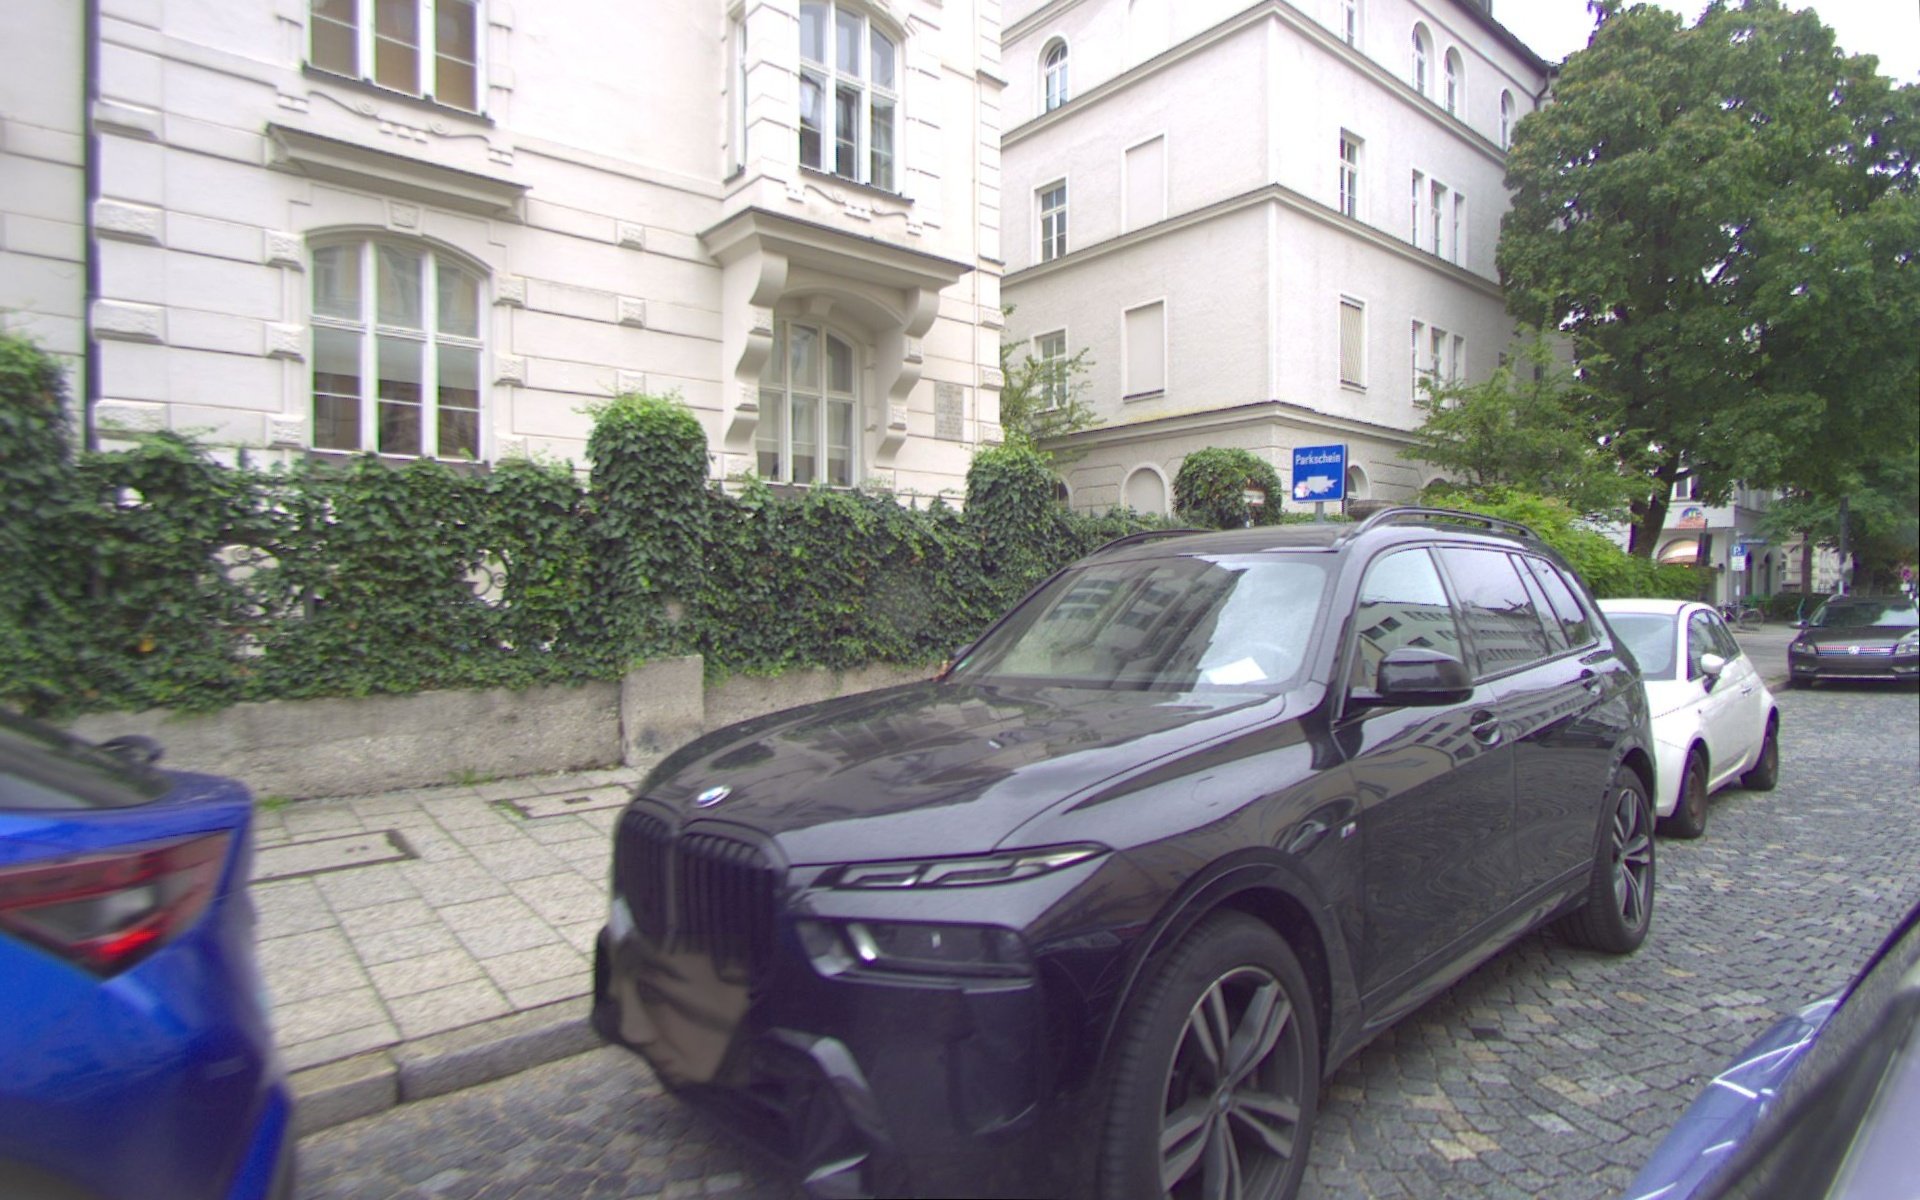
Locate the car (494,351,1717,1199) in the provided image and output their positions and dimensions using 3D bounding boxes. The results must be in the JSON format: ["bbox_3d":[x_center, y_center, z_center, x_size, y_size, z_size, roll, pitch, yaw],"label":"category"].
[{"bbox_3d":[1.270,0.422,4.059,5.398,1.694,1.877,-1,1,-43],"label":"car"}]

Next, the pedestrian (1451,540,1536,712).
[{"bbox_3d":[6.042,0.276,11.463,0.668,1.873,0.578,0,0,-33],"label":"pedestrian"}]

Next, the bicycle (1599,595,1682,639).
[{"bbox_3d":[18.959,0.461,28.248,0.551,1.138,1.846,0,2,-30],"label":"bicycle"}]

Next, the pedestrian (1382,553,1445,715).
[{"bbox_3d":[5.337,0.383,11.899,0.624,1.831,0.654,-1,0,27],"label":"pedestrian"}]

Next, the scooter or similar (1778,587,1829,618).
[{"bbox_3d":[33.684,0.102,40.453,0.396,1.187,1.611,-1,1,-17],"label":"scooter or similar"}]

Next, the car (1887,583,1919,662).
[{"bbox_3d":[20.300,0.421,20.697,3.728,1.489,1.505,-1,1,-40],"label":"car"}]

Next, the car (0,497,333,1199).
[{"bbox_3d":[-2.989,0.691,0.633,4.179,1.501,1.710,-1,-2,-43],"label":"car"}]

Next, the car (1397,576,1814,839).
[{"bbox_3d":[4.948,0.612,7.582,3.595,1.488,1.632,-1,-1,-41],"label":"car"}]

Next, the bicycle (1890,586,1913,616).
[{"bbox_3d":[40.911,0.043,43.969,1.700,1.212,0.429,-1,6,-40],"label":"bicycle"}]

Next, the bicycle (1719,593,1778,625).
[{"bbox_3d":[29.458,0.327,37.840,0.726,1.081,1.606,-5,5,-37],"label":"bicycle"}]

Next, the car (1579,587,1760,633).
[{"bbox_3d":[22.771,0.265,32.672,1.726,1.375,4.484,0,1,-33],"label":"car"}]

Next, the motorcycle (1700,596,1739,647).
[{"bbox_3d":[17.398,0.480,23.185,1.378,1.104,0.363,-1,0,-38],"label":"motorcycle"}]

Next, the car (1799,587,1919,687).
[{"bbox_3d":[15.478,0.546,16.826,4.553,1.440,1.649,-1,-2,-42],"label":"car"}]

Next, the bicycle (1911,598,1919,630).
[{"bbox_3d":[35.059,0.497,36.789,1.559,1.161,0.389,-1,1,-34],"label":"bicycle"}]
